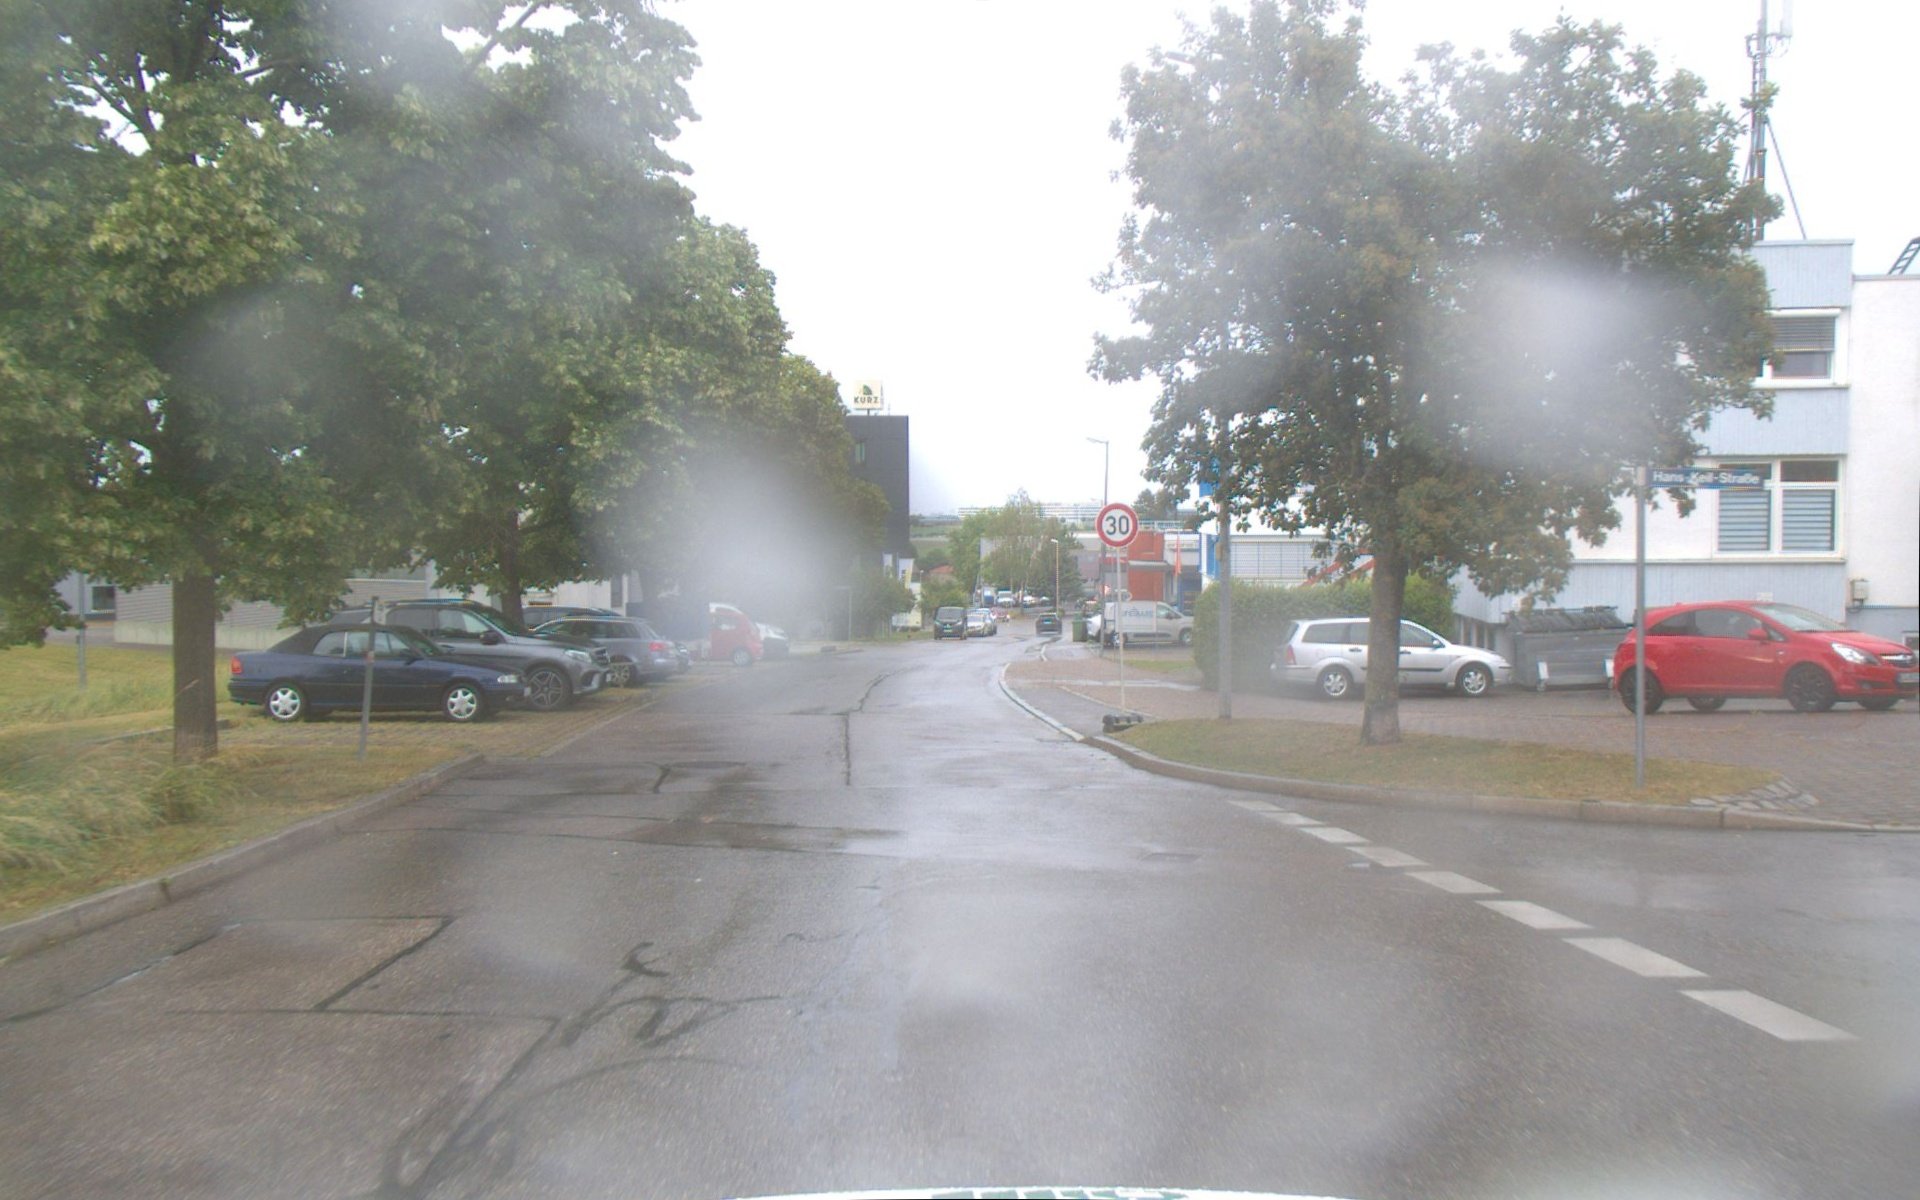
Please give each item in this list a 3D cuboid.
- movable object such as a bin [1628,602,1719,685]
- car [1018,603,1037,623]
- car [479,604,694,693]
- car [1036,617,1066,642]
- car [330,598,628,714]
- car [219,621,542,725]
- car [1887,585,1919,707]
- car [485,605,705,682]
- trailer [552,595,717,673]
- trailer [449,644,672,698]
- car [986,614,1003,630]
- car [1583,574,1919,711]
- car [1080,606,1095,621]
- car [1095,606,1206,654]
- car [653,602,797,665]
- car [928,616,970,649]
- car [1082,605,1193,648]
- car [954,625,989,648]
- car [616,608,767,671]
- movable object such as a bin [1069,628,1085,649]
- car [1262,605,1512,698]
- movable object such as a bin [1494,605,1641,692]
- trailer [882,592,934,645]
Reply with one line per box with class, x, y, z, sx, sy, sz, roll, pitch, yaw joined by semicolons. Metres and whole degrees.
movable object such as a bin;13.686;0.829;31.744;1.277;1.522;1.029;-2;-1;4
car;9.021;1.784;222.270;2.149;2.502;3.997;-1;-2;-4
car;-7.852;1.016;35.028;3.988;1.752;2.026;1;-1;3
car;6.303;2.068;114.889;1.915;1.705;4.472;-1;-2;1
car;-7.753;0.901;26.990;4.279;1.752;2.044;-1;-2;-2
car;-8.398;1.053;24.282;4.131;1.456;1.771;0;-2;-6
car;14.888;0.378;21.256;1.837;1.612;4.771;0;-7;-35
car;-8.228;0.980;37.576;4.521;1.618;1.806;1;-1;2
trailer;-8.892;0.933;45.373;4.125;2.019;1.774;-1;-2;2
trailer;-7.751;1.374;32.345;3.860;0.978;2.000;0;0;0
car;3.716;2.371;176.823;1.711;1.535;3.935;-3;-2;2
car;10.813;0.636;22.300;1.833;1.612;4.281;0;-4;-30
car;14.374;1.536;186.721;1.661;1.501;4.002;-1;-2;4
car;7.545;1.190;65.972;4.250;1.804;2.090;-1;-1;3
car;-7.544;1.089;53.248;4.208;1.939;1.863;-1;-2;8
car;-0.586;1.884;95.458;1.875;1.863;4.850;-1;-1;6
car;7.383;1.096;69.067;4.500;1.565;2.080;-3;-1;4
car;0.766;2.405;110.040;1.914;1.487;5.250;-1;-1;5
car;-7.787;1.153;48.192;4.110;1.752;1.755;-1;-2;-1
movable object such as a bin;5.871;1.945;83.081;0.755;1.048;0.809;-1;-1;6
car;7.958;0.967;31.107;4.223;1.612;1.858;-1;-2;1
movable object such as a bin;11.614;0.917;31.738;2.219;1.530;1.734;-2;-1;4
trailer;-4.395;1.572;138.804;4.114;4.277;1.993;-2;-2;43
